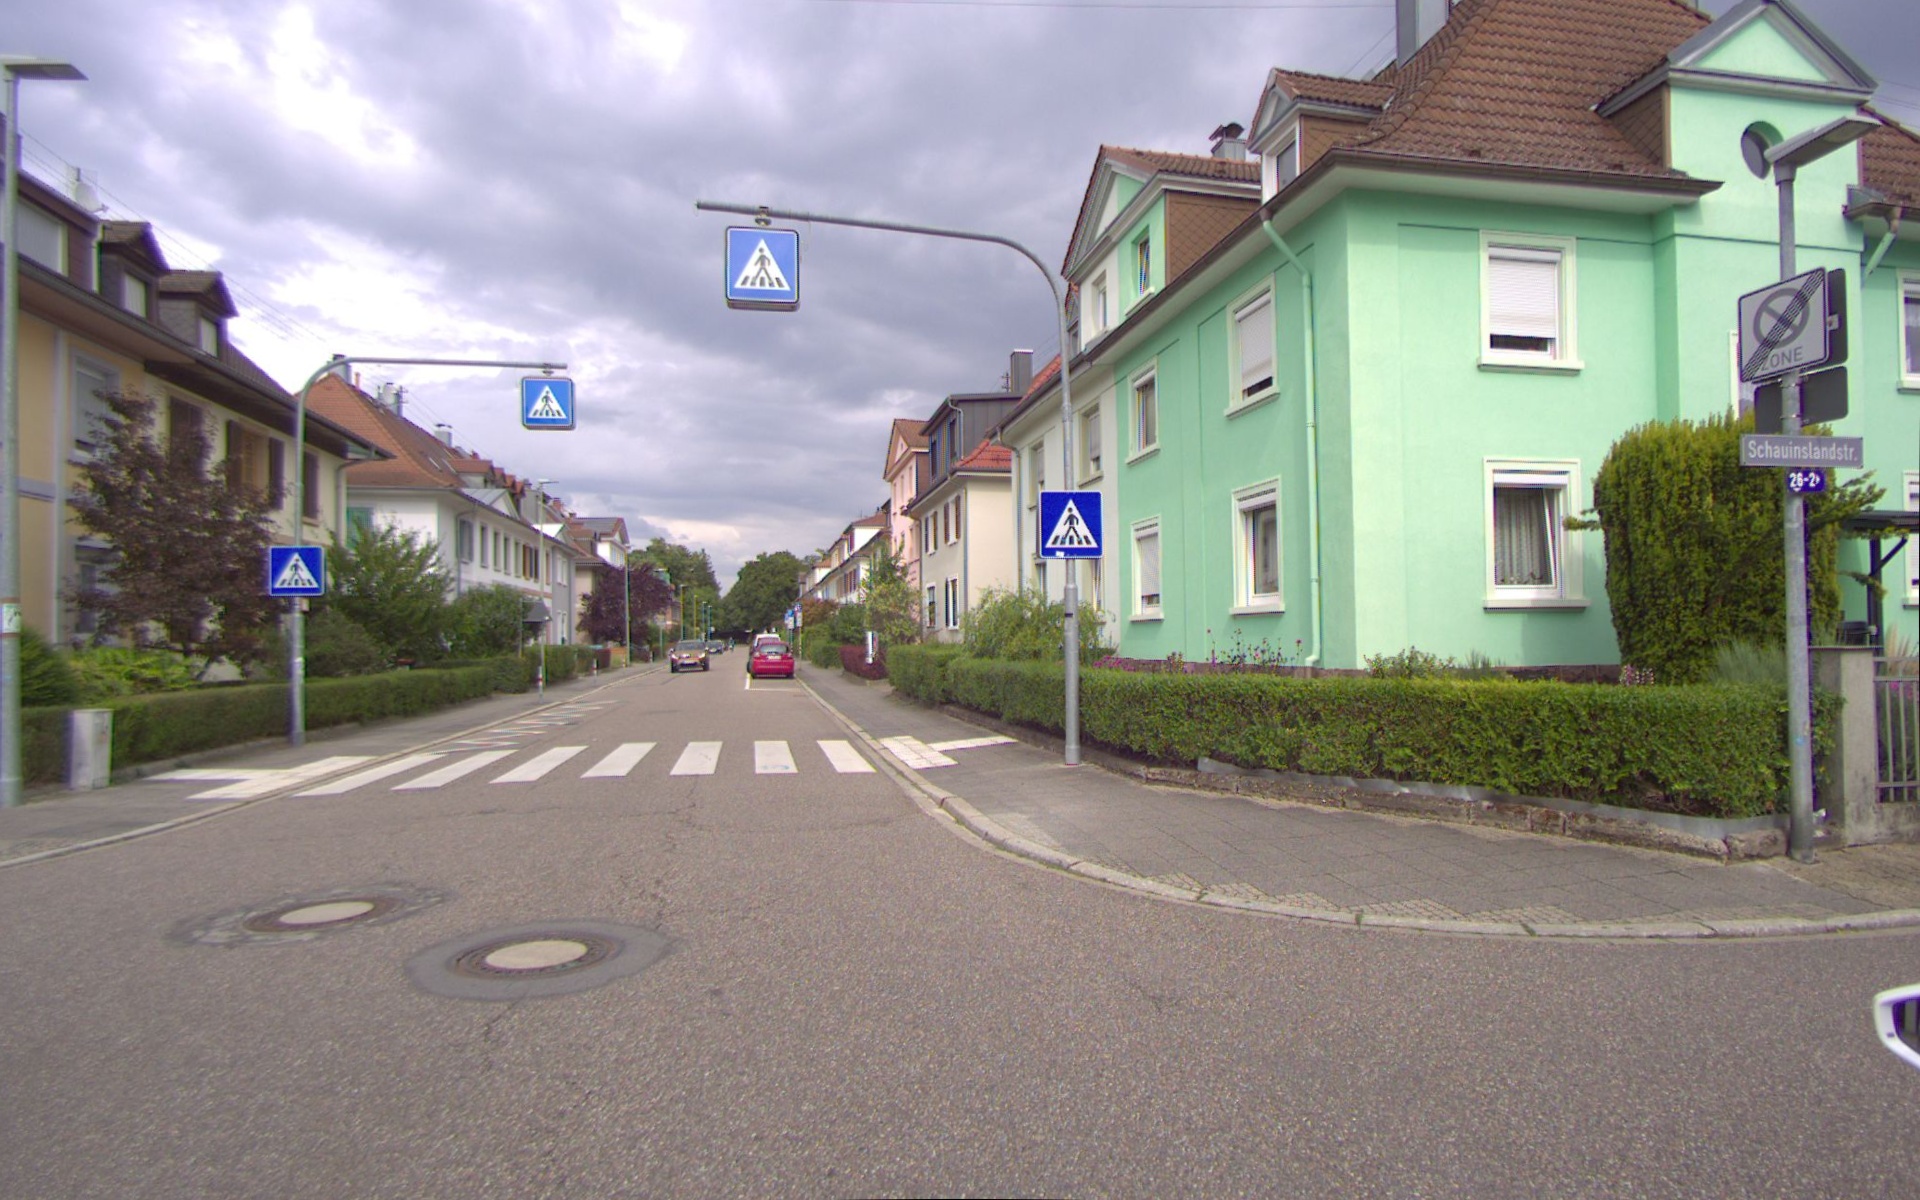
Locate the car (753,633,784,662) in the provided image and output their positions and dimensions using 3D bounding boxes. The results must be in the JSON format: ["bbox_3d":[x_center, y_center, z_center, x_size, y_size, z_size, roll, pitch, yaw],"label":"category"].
[{"bbox_3d":[-13.173,3.248,68.974,1.965,1.929,3.992,0,-2,-12],"label":"car"}]

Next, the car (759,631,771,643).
[{"bbox_3d":[-33.635,6.412,173.448,1.965,2.040,3.992,1,-2,-12],"label":"car"}]

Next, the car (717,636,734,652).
[{"bbox_3d":[-28.358,5.339,121.537,1.780,1.904,3.941,-1,-2,-12],"label":"car"}]

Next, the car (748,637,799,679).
[{"bbox_3d":[-7.716,2.346,41.389,1.965,1.594,3.992,0,-2,-12],"label":"car"}]

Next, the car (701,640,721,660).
[{"bbox_3d":[-26.464,5.344,106.913,1.965,2.040,3.992,0,-2,-12],"label":"car"}]

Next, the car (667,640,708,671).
[{"bbox_3d":[-13.934,2.827,51.509,1.805,1.505,3.991,1,-2,-13],"label":"car"}]
